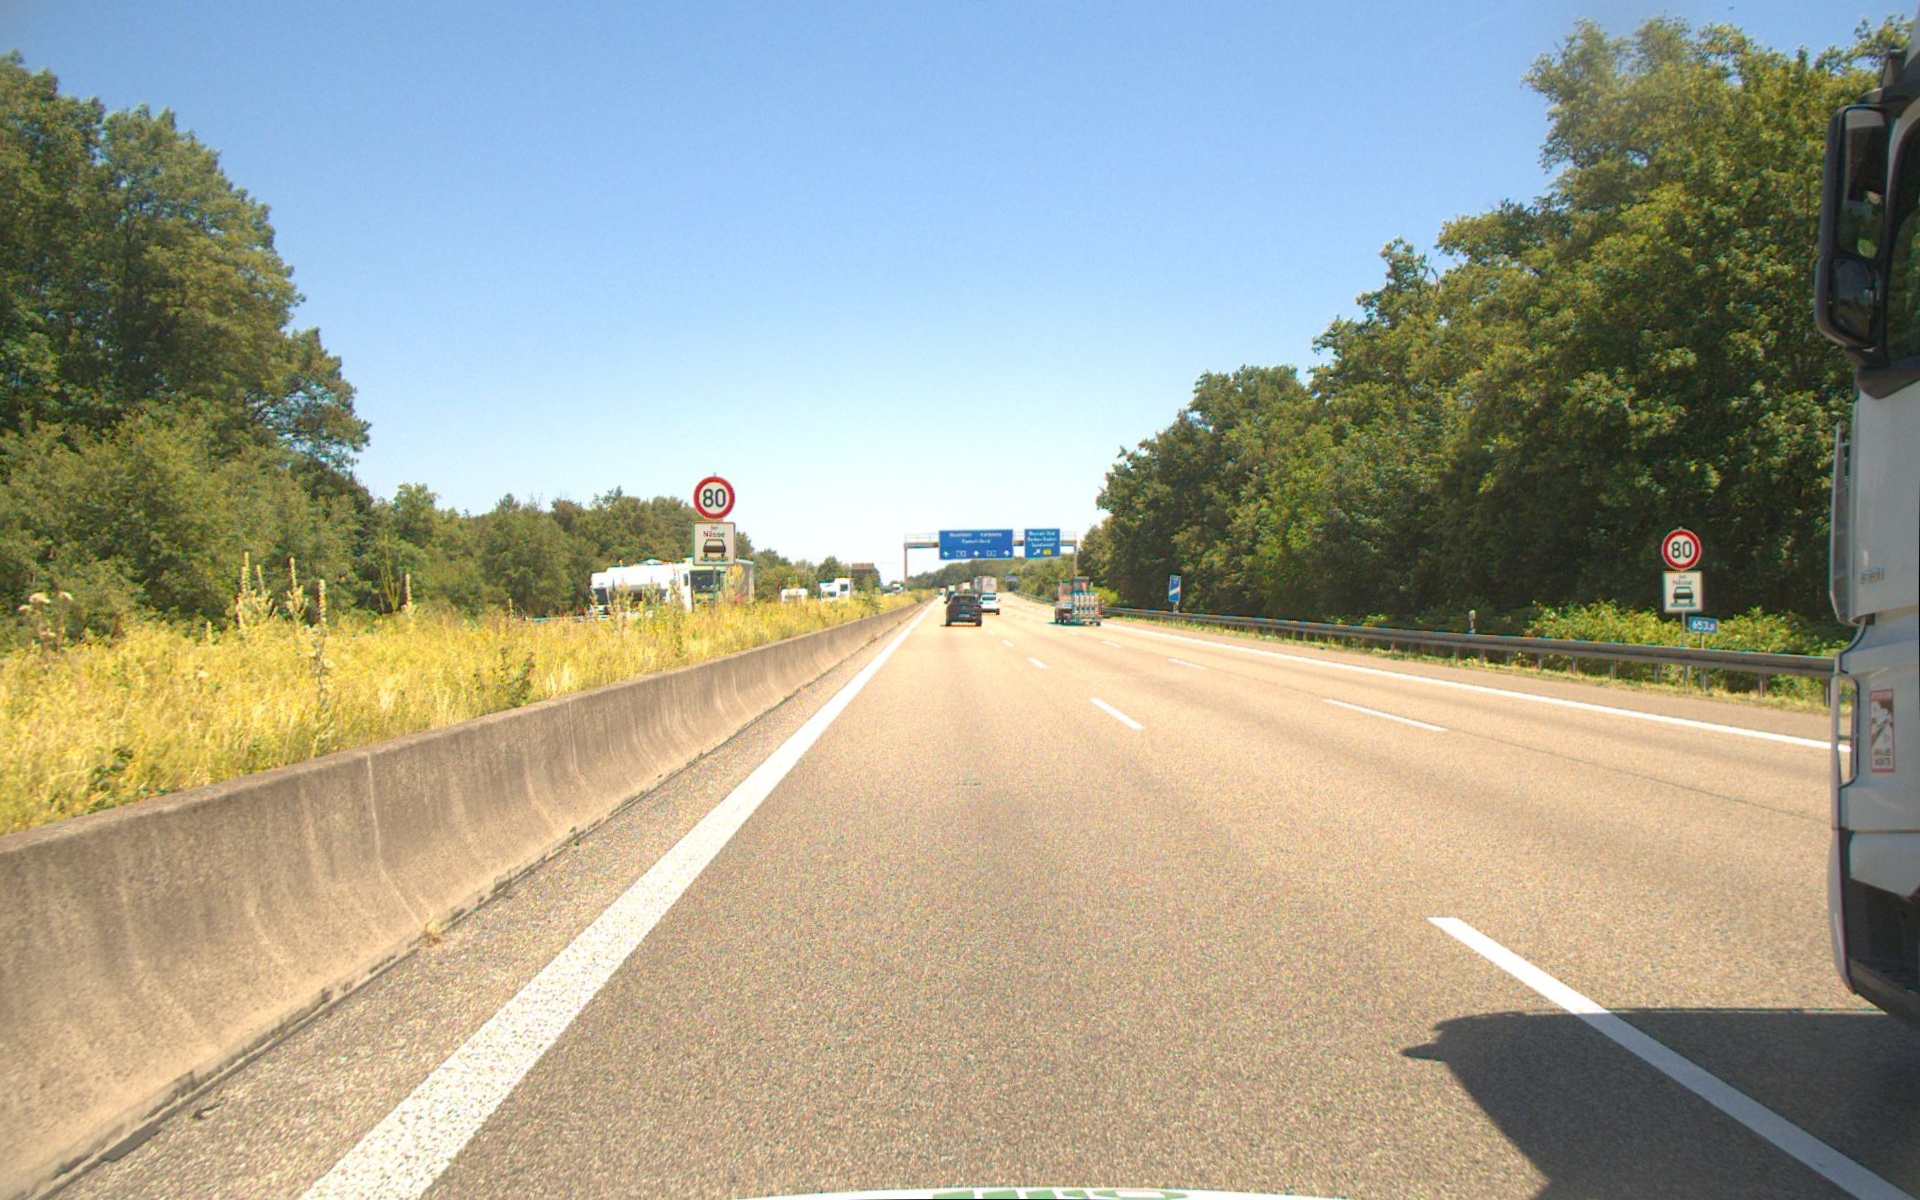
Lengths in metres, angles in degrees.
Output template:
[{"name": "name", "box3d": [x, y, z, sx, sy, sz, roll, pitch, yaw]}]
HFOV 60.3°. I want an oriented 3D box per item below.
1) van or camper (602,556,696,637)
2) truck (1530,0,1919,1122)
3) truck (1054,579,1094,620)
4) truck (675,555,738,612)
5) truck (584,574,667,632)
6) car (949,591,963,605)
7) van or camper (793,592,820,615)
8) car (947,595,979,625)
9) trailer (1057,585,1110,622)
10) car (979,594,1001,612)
[{"name": "van or camper", "box3d": [-12.930, -0.160, 69.295, 2.456, 3.210, 7.534, 1, 0, 0]}, {"name": "truck", "box3d": [3.976, -0.643, 4.332, 2.645, 4.166, 6.451, 0, -1, -1]}, {"name": "truck", "box3d": [6.852, -0.047, 99.966, 1.953, 2.415, 4.643, 0, 0, -2]}, {"name": "truck", "box3d": [-14.058, -0.906, 92.183, 2.554, 3.061, 6.970, -1, 0, -1]}, {"name": "truck", "box3d": [-18.499, 0.144, 92.223, 2.632, 2.993, 10.485, -1, 0, -1]}, {"name": "car", "box3d": [-0.601, -0.271, 248.451, 1.953, 2.049, 3.999, -2, 0, -1]}, {"name": "van or camper", "box3d": [-14.292, 0.302, 154.392, 2.177, 2.049, 5.885, 1, 0, -2]}, {"name": "car", "box3d": [0.138, 0.550, 90.690, 1.627, 1.576, 3.781, 0, 0, -2]}, {"name": "trailer", "box3d": [7.017, 0.182, 94.607, 2.372, 2.049, 6.031, 0, 0, -2]}, {"name": "car", "box3d": [2.555, 0.261, 140.805, 1.704, 1.512, 3.999, 0, 0, -1]}]
